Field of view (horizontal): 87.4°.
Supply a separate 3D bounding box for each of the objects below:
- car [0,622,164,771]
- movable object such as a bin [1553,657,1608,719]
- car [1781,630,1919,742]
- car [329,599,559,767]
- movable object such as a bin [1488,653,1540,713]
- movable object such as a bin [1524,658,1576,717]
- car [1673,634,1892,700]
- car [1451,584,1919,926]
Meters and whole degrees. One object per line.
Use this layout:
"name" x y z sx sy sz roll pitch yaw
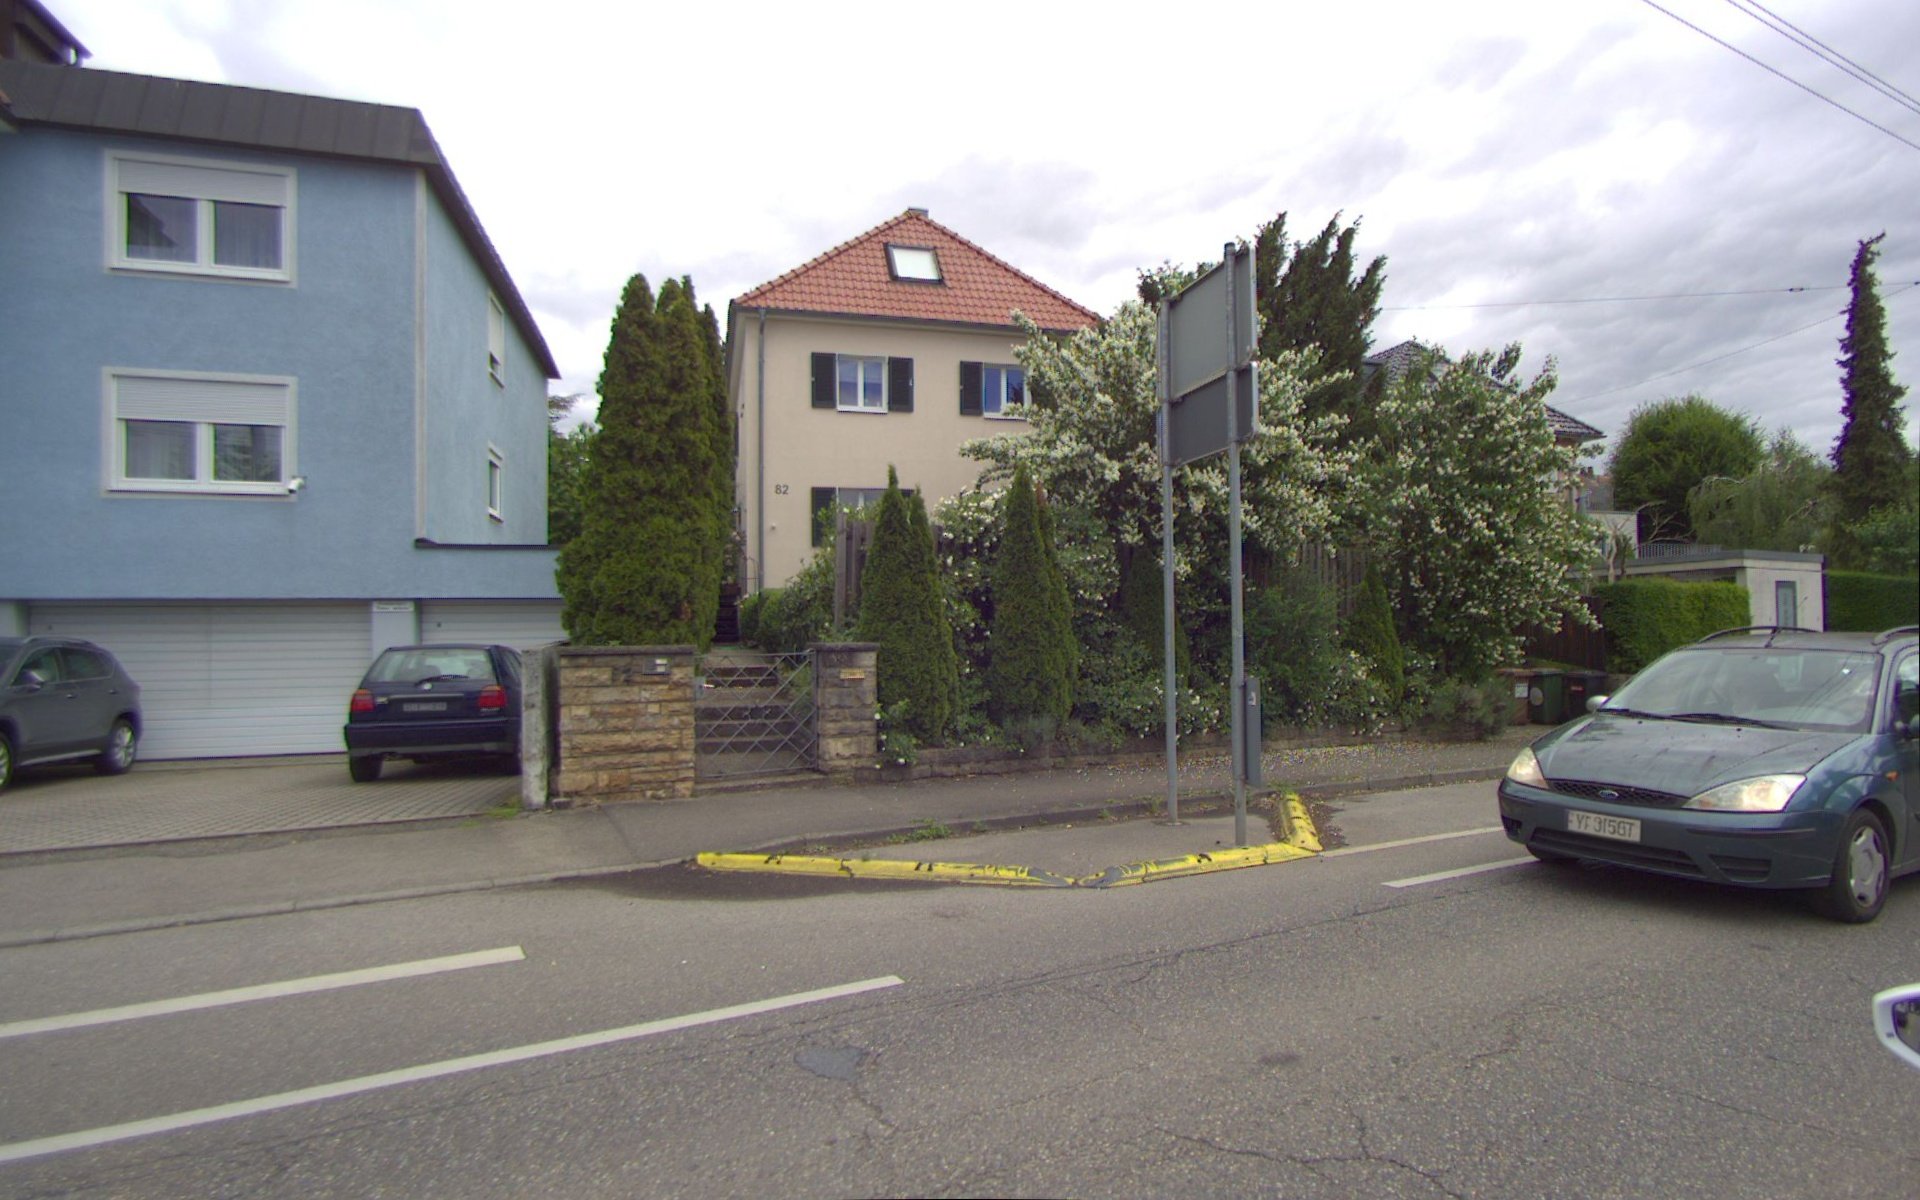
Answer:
"car" -10.393 0.938 10.416 1.968 1.409 3.986 1 -1 -17
"movable object such as a bin" 9.960 1.403 16.130 0.501 0.954 0.538 2 -1 -17
"car" 14.225 1.211 14.879 4.363 1.474 1.801 1 -4 -31
"car" -5.745 0.908 11.626 1.615 1.612 3.590 1 -3 -15
"movable object such as a bin" 9.250 1.385 16.775 0.606 0.954 0.448 2 -1 -18
"movable object such as a bin" 9.901 1.465 16.868 0.501 0.954 0.538 2 -1 -17
"car" 19.217 1.516 23.650 1.821 1.409 3.584 1 -2 -20
"car" 5.330 0.771 6.484 4.394 1.574 1.726 1 -2 -30
